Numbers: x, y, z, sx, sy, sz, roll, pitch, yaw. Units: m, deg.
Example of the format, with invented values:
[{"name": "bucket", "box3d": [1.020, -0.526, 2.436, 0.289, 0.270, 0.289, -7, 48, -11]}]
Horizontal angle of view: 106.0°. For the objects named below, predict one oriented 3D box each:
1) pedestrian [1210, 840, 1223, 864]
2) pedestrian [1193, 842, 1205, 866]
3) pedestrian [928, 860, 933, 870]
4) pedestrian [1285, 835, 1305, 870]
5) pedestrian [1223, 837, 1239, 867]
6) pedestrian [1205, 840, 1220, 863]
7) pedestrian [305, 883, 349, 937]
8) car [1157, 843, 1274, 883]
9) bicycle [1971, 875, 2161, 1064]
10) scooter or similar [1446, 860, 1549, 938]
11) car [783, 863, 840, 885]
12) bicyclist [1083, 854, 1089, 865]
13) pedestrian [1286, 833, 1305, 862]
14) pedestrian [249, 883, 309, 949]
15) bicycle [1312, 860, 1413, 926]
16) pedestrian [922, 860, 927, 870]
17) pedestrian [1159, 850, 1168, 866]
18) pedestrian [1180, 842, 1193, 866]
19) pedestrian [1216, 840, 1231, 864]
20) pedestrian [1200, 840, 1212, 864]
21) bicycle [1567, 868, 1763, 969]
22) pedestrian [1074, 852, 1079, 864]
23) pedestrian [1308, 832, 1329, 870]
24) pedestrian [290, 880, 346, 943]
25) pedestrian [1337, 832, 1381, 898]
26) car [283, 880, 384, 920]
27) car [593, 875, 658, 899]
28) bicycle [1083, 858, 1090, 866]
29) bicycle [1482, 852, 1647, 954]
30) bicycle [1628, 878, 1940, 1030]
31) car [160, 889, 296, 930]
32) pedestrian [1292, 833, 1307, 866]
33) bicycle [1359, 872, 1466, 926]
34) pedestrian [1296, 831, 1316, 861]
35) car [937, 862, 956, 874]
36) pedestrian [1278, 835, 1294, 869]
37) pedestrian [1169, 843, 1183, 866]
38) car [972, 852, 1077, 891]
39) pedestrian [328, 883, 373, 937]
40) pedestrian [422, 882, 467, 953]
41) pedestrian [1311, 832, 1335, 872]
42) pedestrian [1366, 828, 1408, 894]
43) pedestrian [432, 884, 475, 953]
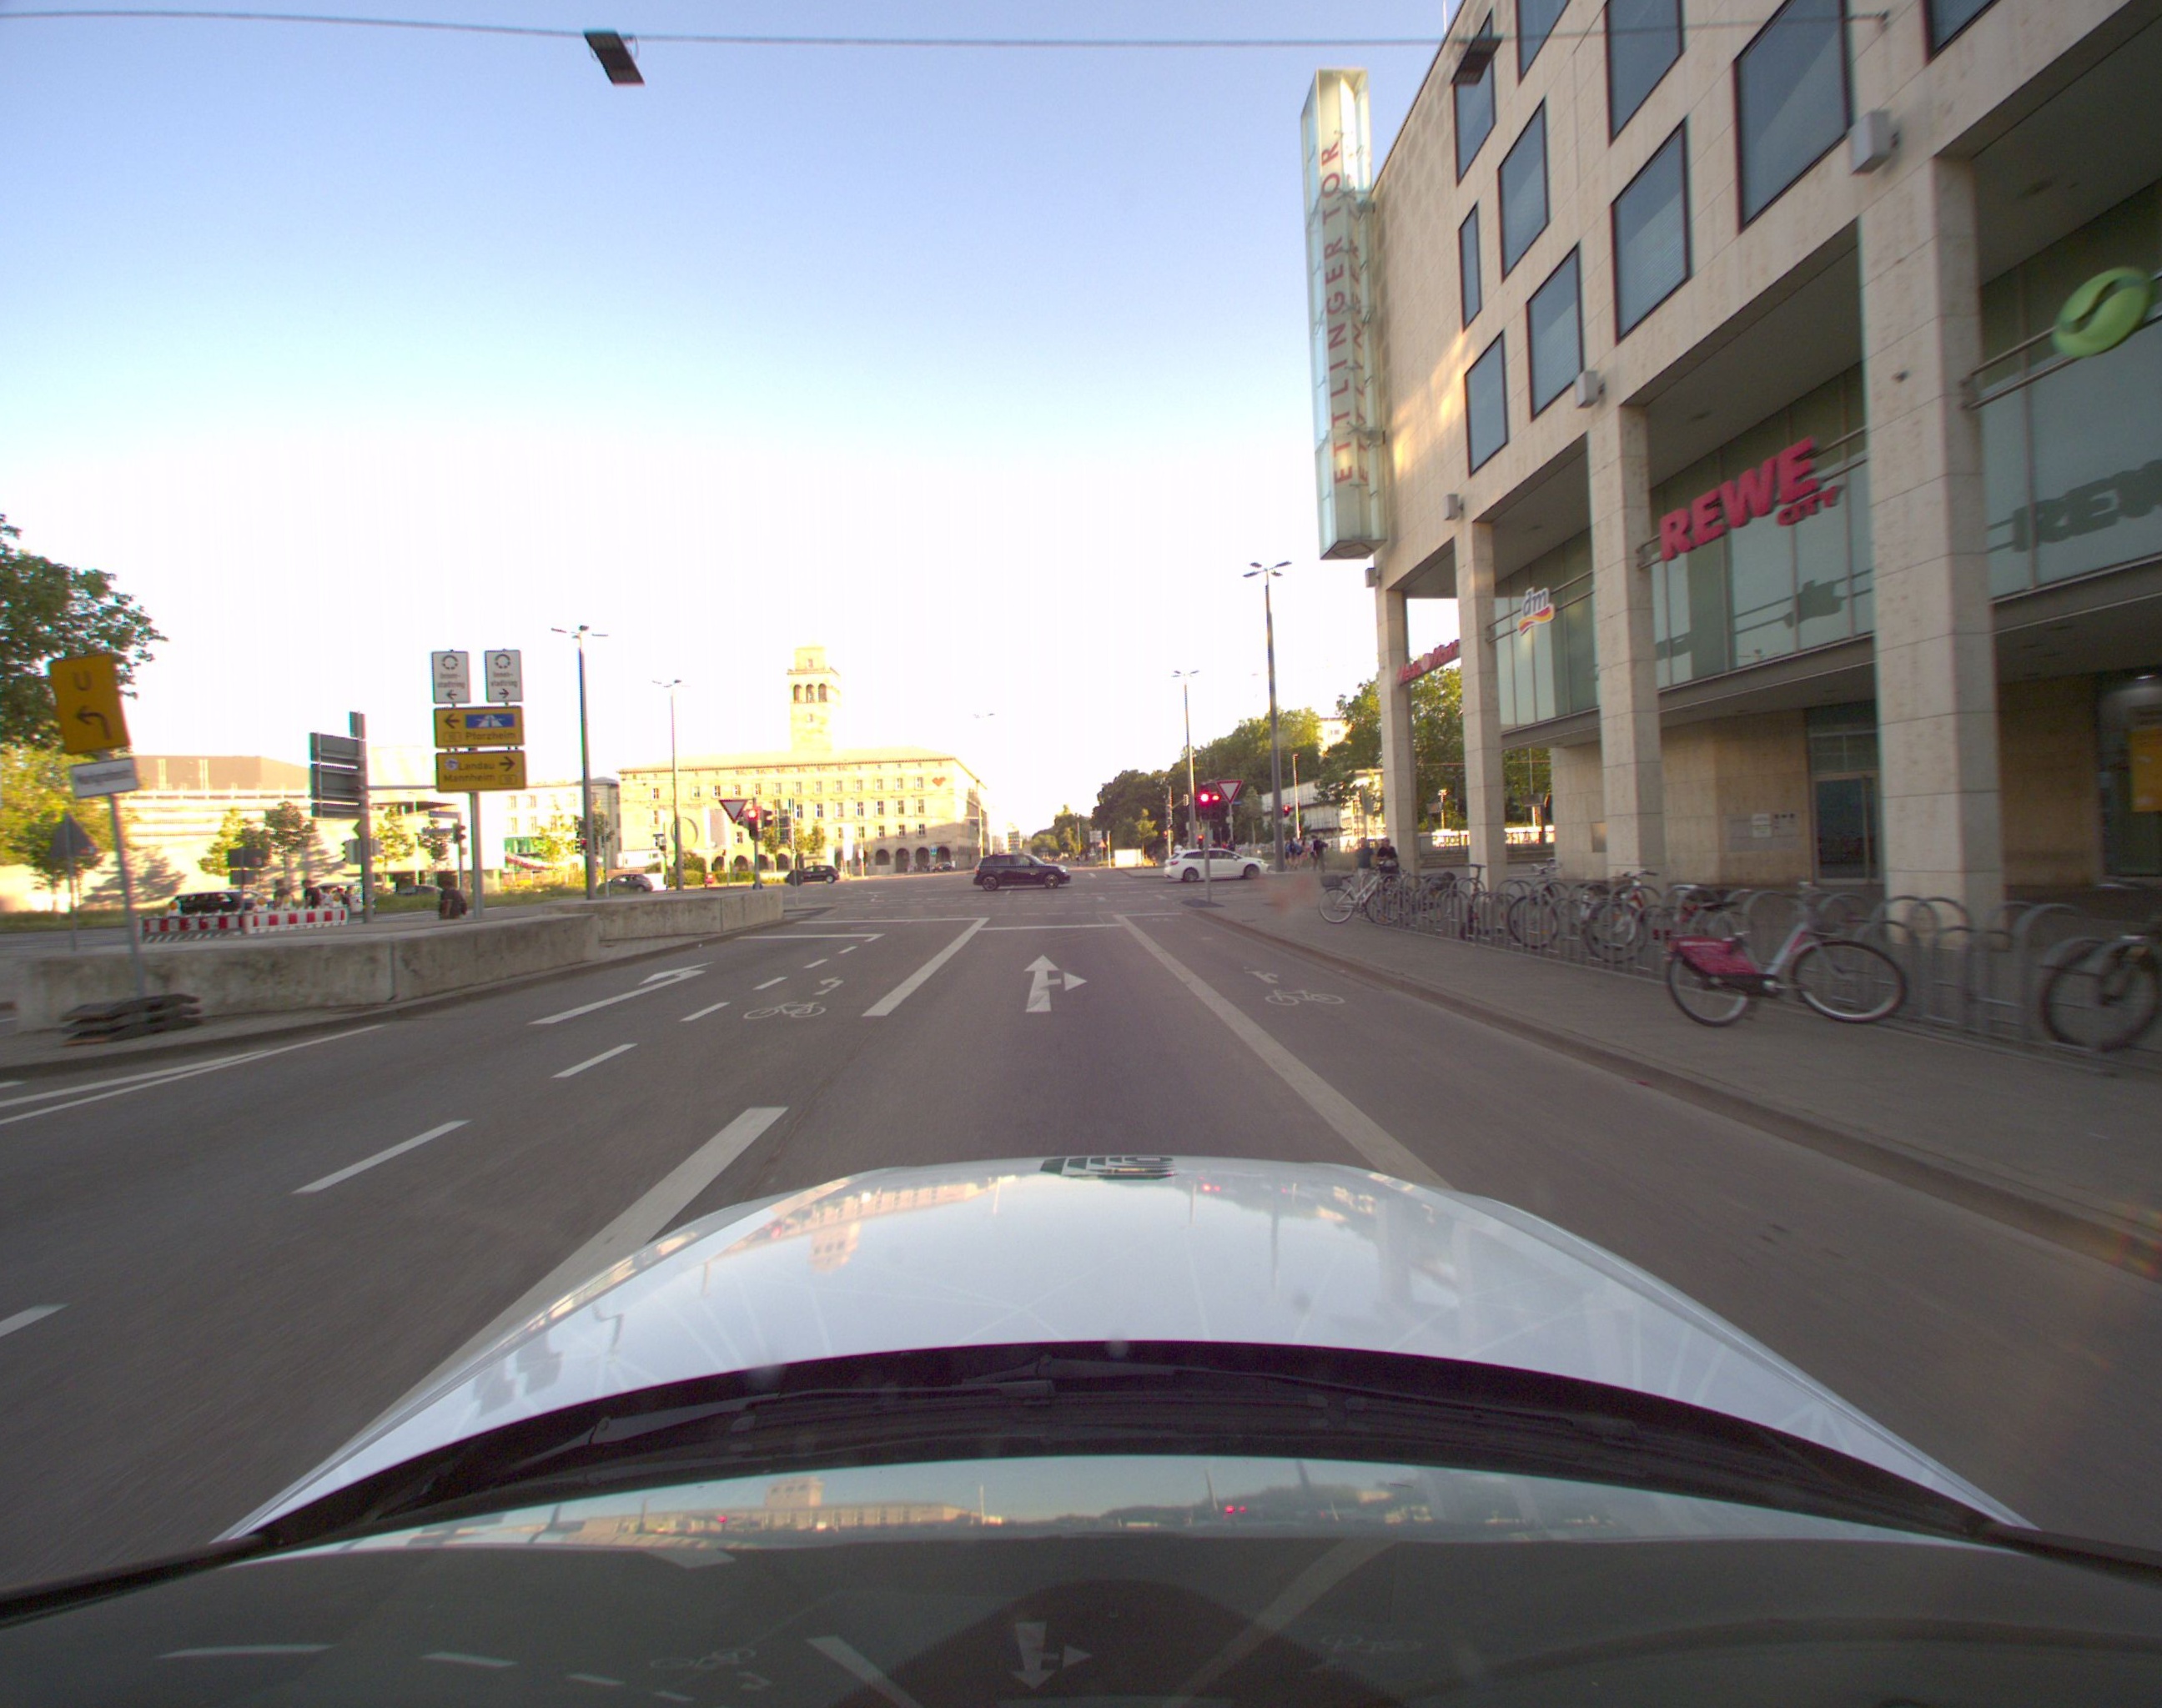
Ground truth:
[{"name": "pedestrian", "box3d": [10.154, -0.136, 61.061, 0.806, 1.730, 0.687, -3, 0, -4]}, {"name": "pedestrian", "box3d": [8.948, 0.003, 61.859, 0.803, 1.730, 0.690, -3, 0, 10]}, {"name": "pedestrian", "box3d": [-25.169, 1.843, 135.934, 0.632, 1.567, 0.775, -3, 0, -1]}, {"name": "pedestrian", "box3d": [10.883, -0.071, 41.420, 0.887, 1.730, 0.689, -3, 0, 8]}, {"name": "pedestrian", "box3d": [8.730, -0.112, 47.384, 0.690, 1.730, 0.741, -3, 0, -1]}, {"name": "pedestrian", "box3d": [10.102, -0.157, 62.610, 0.691, 1.730, 0.802, -3, 0, -35]}, {"name": "pedestrian", "box3d": [-26.740, 1.980, 28.888, 0.853, 1.776, 0.745, -5, 0, 20]}, {"name": "car", "box3d": [5.973, 0.386, 36.557, 4.786, 1.495, 2.126, -3, 0, -3]}, {"name": "bicycle", "box3d": [6.839, 0.689, 5.086, 1.808, 1.100, 0.601, 0, 0, 5]}, {"name": "scooter or similar", "box3d": [6.648, 0.703, 13.035, 1.273, 1.160, 0.673, -2, 0, -4]}, {"name": "car", "box3d": [-20.324, 1.507, 61.538, 3.984, 1.453, 1.537, -3, 0, -16]}, {"name": "bicyclist", "box3d": [0.593, 0.673, 99.904, 0.651, 1.223, 0.859, -3, 0, -6]}, {"name": "pedestrian", "box3d": [12.905, -0.392, 49.019, 0.692, 1.730, 0.828, -3, 0, -44]}, {"name": "pedestrian", "box3d": [-23.241, 1.781, 23.624, 0.737, 1.776, 0.862, -5, 0, -5]}, {"name": "bicycle", "box3d": [5.578, 0.770, 16.229, 1.805, 1.212, 0.572, -3, 0, 13]}, {"name": "pedestrian", "box3d": [-26.005, 1.876, 135.365, 0.632, 1.567, 0.775, -3, 0, -1]}, {"name": "pedestrian", "box3d": [9.427, 0.452, 93.446, 0.807, 1.730, 0.927, -3, 0, -4]}, {"name": "pedestrian", "box3d": [7.900, 0.001, 60.926, 0.807, 1.730, 0.687, -3, 0, -4]}, {"name": "pedestrian", "box3d": [10.763, -0.149, 61.689, 0.690, 1.730, 0.803, -3, 0, -28]}, {"name": "pedestrian", "box3d": [9.364, -0.141, 61.128, 0.803, 1.730, 0.690, -3, 0, 10]}, {"name": "bicycle", "box3d": [6.770, 0.739, 9.488, 1.865, 1.113, 0.570, -1, 0, 0]}, {"name": "pedestrian", "box3d": [-0.515, 0.474, 98.017, 0.522, 1.374, 0.686, -3, 0, -6]}, {"name": "pedestrian", "box3d": [11.962, -0.152, 41.059, 0.887, 1.840, 0.690, -3, 0, 9]}, {"name": "pedestrian", "box3d": [-23.023, 1.723, 24.590, 0.737, 1.776, 0.862, -5, 0, -4]}, {"name": "pedestrian", "box3d": [7.924, 0.312, 23.238, 0.858, 1.776, 0.740, -5, 0, -2]}, {"name": "car", "box3d": [-36.030, 2.203, 39.346, 3.138, 1.685, 1.603, -3, 0, -16]}, {"name": "car", "box3d": [-32.874, 2.373, 58.840, 3.713, 1.453, 1.541, -3, 0, -9]}, {"name": "bicycle", "box3d": [0.625, 0.971, 99.925, 0.650, 0.970, 1.481, -3, 0, -6]}, {"name": "bicycle", "box3d": [6.658, 0.653, 11.263, 1.863, 1.260, 0.673, -3, 0, -4]}, {"name": "bicycle", "box3d": [5.475, 0.766, 6.411, 1.890, 1.047, 0.571, -3, 0, 2]}, {"name": "car", "box3d": [-40.531, 2.609, 38.778, 4.182, 1.592, 1.690, -3, 0, -11]}, {"name": "pedestrian", "box3d": [11.638, -0.234, 43.357, 0.680, 1.730, 0.899, -3, 0, 16]}, {"name": "bicycle", "box3d": [6.458, 0.866, 15.883, 1.863, 0.936, 0.516, -3, 0, -4]}, {"name": "pedestrian", "box3d": [13.337, -0.456, 48.283, 0.691, 1.730, 0.829, -3, 0, -40]}, {"name": "car", "box3d": [-20.785, 2.093, 126.315, 1.985, 1.662, 4.003, -3, 0, 3]}, {"name": "pedestrian", "box3d": [10.770, -0.098, 42.842, 0.682, 1.730, 0.898, -3, 0, 8]}, {"name": "pedestrian", "box3d": [7.083, 0.042, 60.819, 0.807, 1.730, 0.687, -3, 0, -4]}, {"name": "car", "box3d": [-2.454, 0.742, 36.095, 4.450, 1.495, 2.126, -3, 0, -3]}, {"name": "pedestrian", "box3d": [-25.692, 1.953, 28.641, 0.853, 1.776, 0.745, -5, 0, 22]}, {"name": "pedestrian", "box3d": [-16.710, 1.642, 21.398, 0.743, 1.777, 0.855, -2, 0, -29]}, {"name": "pedestrian", "box3d": [11.460, -0.100, 38.576, 0.888, 1.830, 0.689, -3, 0, 6]}, {"name": "pedestrian", "box3d": [8.732, 0.193, 23.276, 0.754, 1.776, 0.740, -5, 0, -2]}, {"name": "pedestrian", "box3d": [-17.014, 1.720, 22.100, 0.742, 1.777, 0.856, -2, 0, -26]}]
